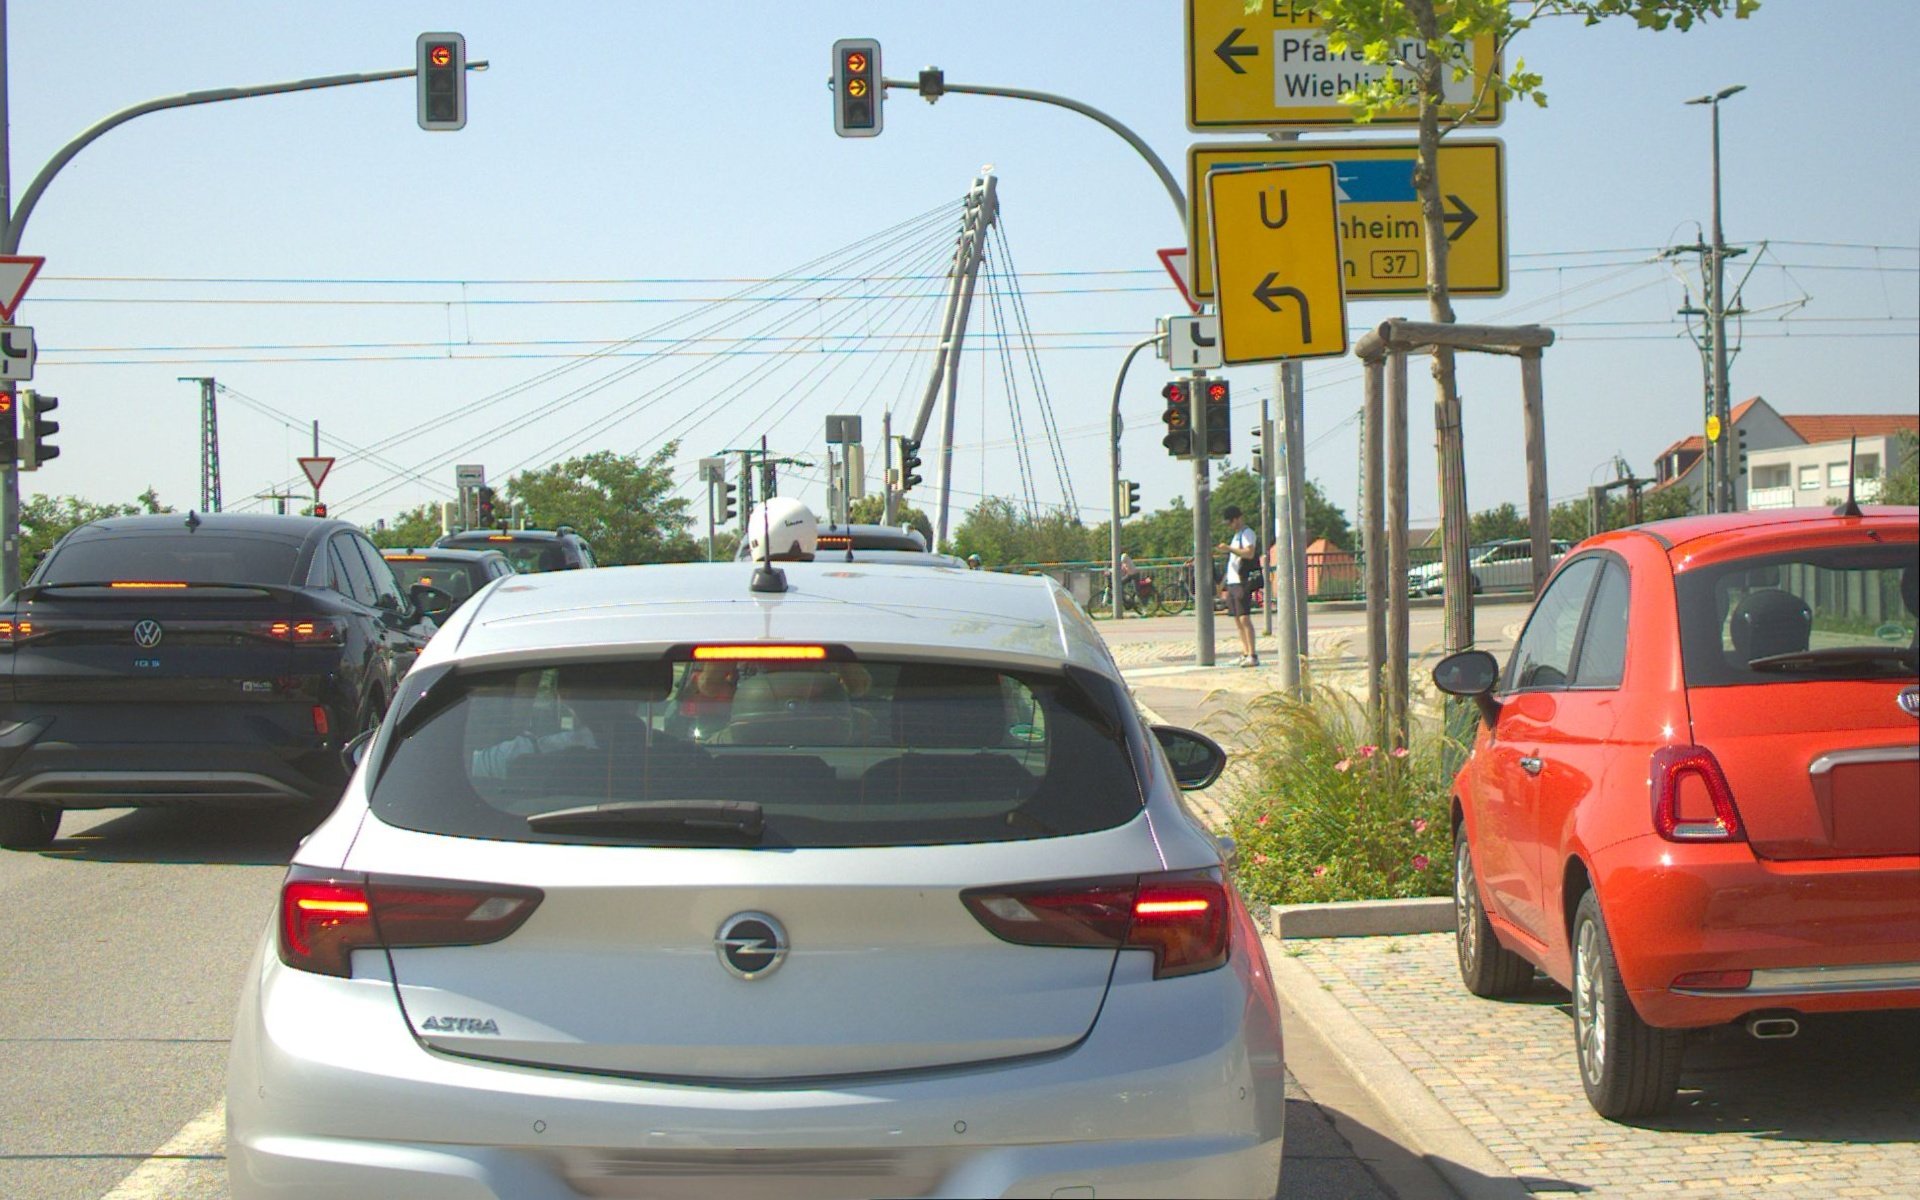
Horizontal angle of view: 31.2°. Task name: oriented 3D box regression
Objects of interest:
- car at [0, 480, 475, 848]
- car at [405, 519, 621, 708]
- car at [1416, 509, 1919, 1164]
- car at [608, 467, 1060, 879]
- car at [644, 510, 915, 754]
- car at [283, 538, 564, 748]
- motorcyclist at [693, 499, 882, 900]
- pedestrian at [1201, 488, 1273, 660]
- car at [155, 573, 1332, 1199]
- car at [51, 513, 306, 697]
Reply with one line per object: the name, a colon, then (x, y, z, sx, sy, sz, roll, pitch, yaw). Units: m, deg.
car: (-3.690, 0.266, 17.688, 1.801, 1.636, 4.366, 1, 1, -1)
car: (-4.052, 0.099, 31.612, 1.649, 1.610, 3.821, 1, 1, -3)
car: (2.332, 0.514, 9.758, 1.610, 1.491, 3.352, -2, 1, 1)
car: (-0.589, 0.270, 17.559, 1.993, 1.814, 4.402, 1, 2, -1)
car: (-1.202, 0.155, 24.415, 1.724, 1.558, 4.000, 1, 2, 0)
car: (-3.919, 0.279, 25.631, 1.575, 1.429, 3.786, 1, 1, -1)
motorcyclist: (-0.607, 0.343, 12.299, 0.582, 1.384, 0.707, 1, 0, 4)
pedestrian: (3.001, -0.283, 37.327, 0.647, 1.830, 0.798, -1, 0, -2)
car: (-0.428, 0.699, 7.131, 1.742, 1.473, 4.001, 1, 1, -3)
car: (-6.970, 0.023, 30.981, 1.597, 1.542, 3.763, 1, 1, -3)
